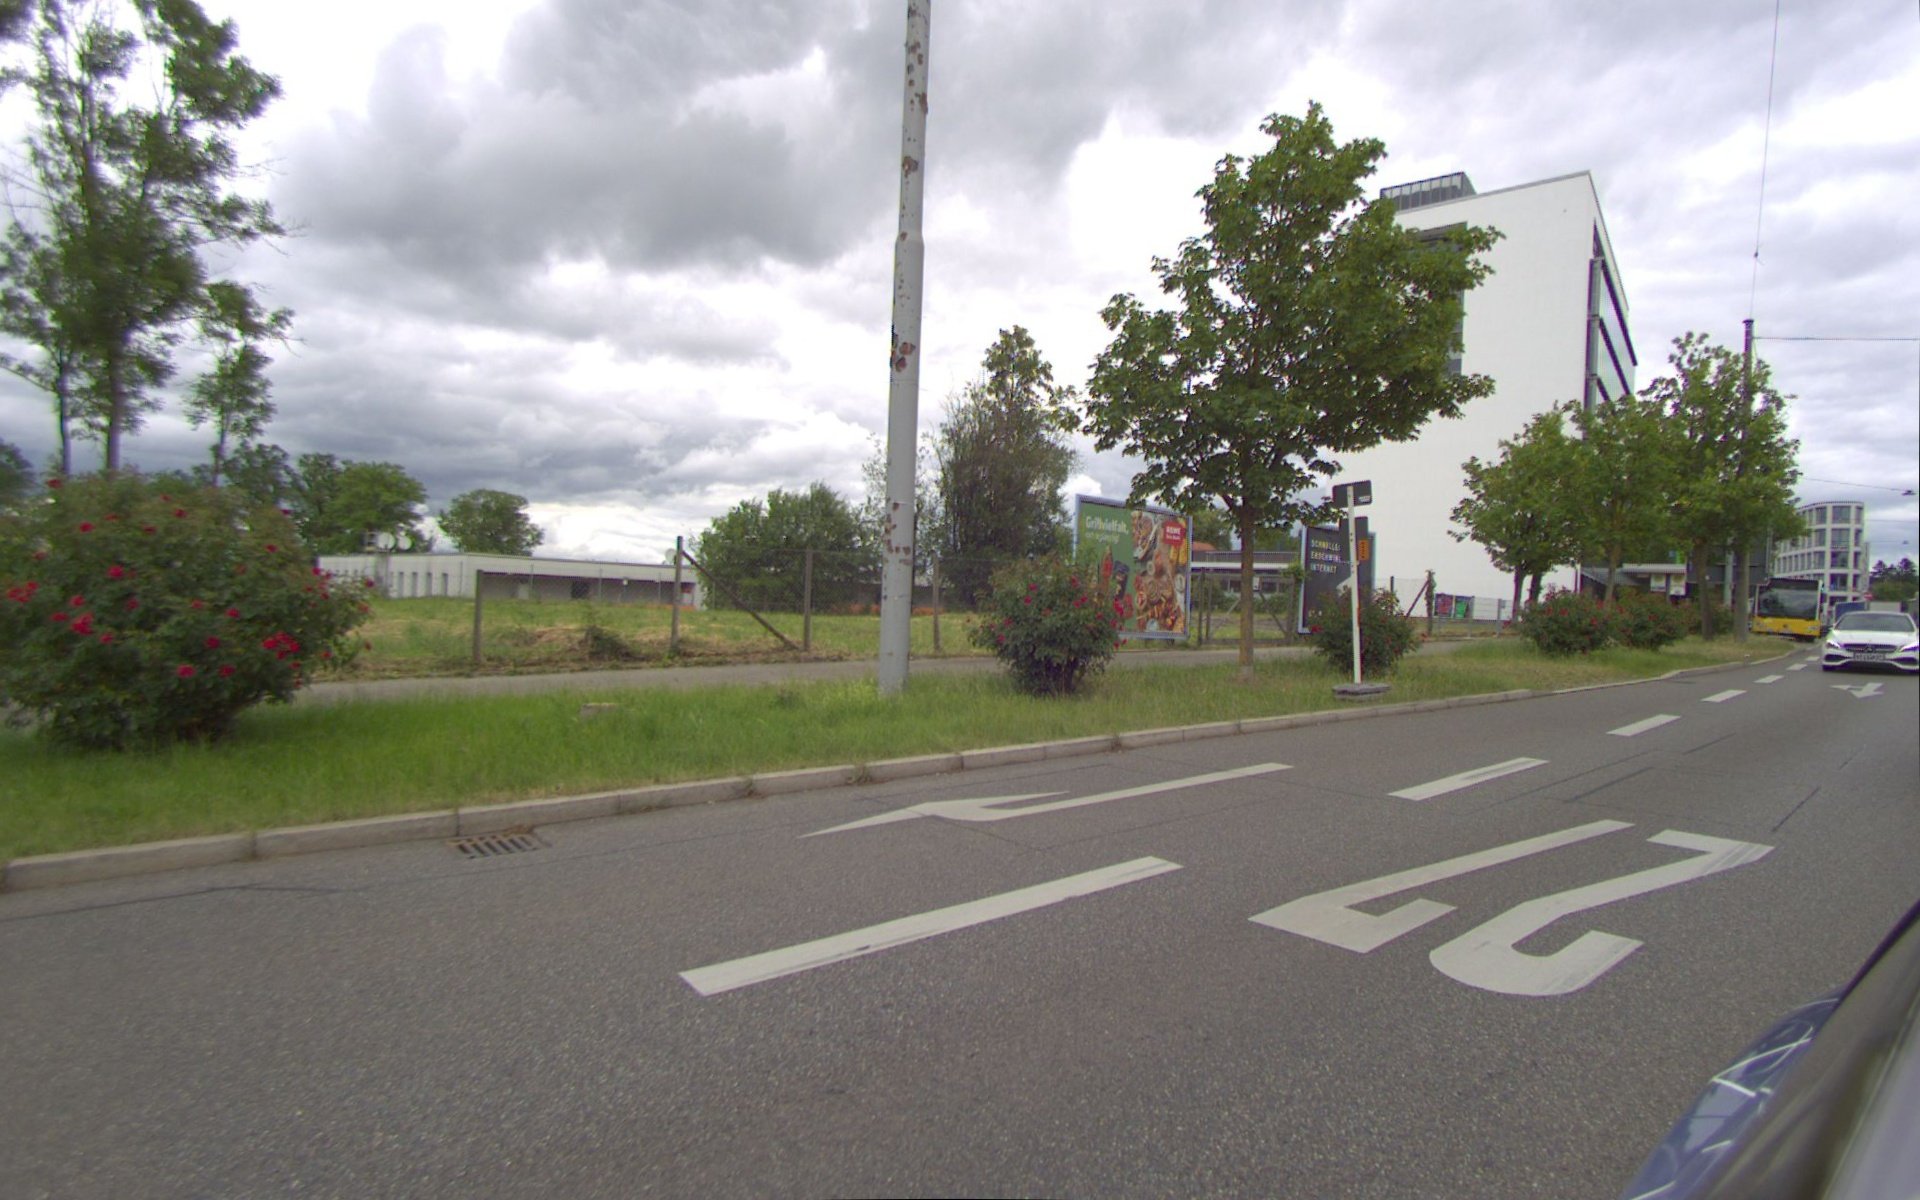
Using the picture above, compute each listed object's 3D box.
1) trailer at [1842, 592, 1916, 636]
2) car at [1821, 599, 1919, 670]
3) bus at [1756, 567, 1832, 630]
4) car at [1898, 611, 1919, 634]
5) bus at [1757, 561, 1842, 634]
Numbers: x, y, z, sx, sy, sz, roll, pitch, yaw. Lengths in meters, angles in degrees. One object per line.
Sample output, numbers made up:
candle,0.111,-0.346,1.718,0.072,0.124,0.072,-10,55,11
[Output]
trailer,100.556,1.599,111.025,3.088,4.323,14.677,2,0,31
car,22.317,0.768,24.630,1.864,1.524,4.706,2,1,38
bus,47.797,-0.066,58.175,3.031,3.276,9.207,2,1,38
car,67.123,1.550,70.760,4.290,1.573,1.734,1,0,-40
bus,41.975,-0.123,50.825,2.977,3.282,9.727,2,1,38
